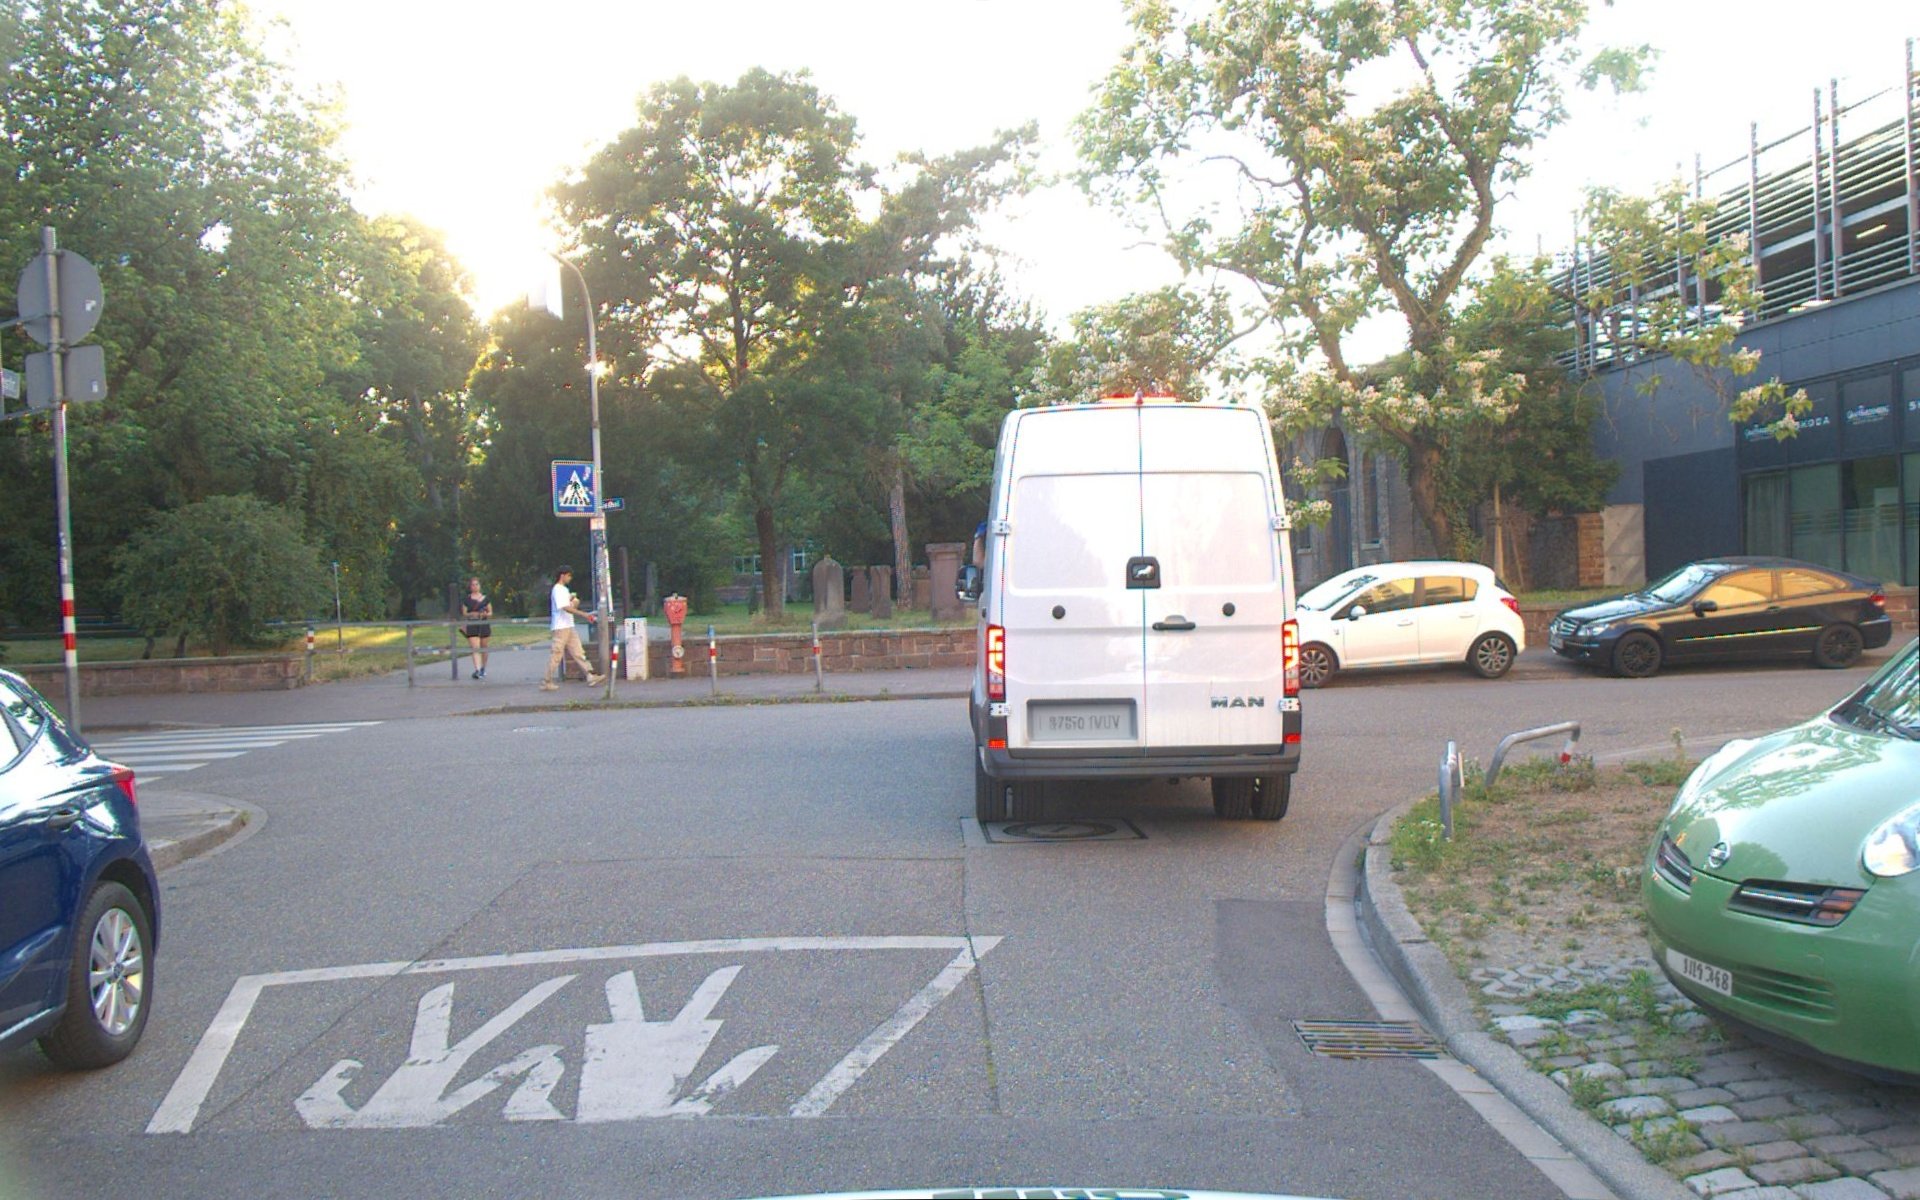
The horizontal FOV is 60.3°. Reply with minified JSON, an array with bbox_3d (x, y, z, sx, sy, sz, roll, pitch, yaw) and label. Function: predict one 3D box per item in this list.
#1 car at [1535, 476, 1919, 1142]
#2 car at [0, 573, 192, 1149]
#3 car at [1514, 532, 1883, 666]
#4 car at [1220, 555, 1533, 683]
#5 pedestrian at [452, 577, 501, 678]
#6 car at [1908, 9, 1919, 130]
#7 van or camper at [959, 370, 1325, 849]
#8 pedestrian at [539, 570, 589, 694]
[{"bbox_3d":[4.351,0.425,5.258,4.318,1.660,1.844,-3,-1,-5],"label":"car"},{"bbox_3d":[-3.492,0.775,4.013,1.700,1.594,3.786,-3,1,-6],"label":"car"},{"bbox_3d":[10.036,-0.022,22.726,4.204,1.529,1.824,-3,0,2],"label":"car"},{"bbox_3d":[5.702,0.234,22.954,3.779,1.601,1.956,-1,1,-4],"label":"car"},{"bbox_3d":[-8.129,0.451,27.834,0.633,1.677,0.673,0,0,-2],"label":"pedestrian"},{"bbox_3d":[17.993,-9.511,27.793,1.952,2.049,4.002,-1,0,3],"label":"car"},{"bbox_3d":[1.032,0.054,12.594,1.953,2.664,6.402,-2,0,-1],"label":"van or camper"},{"bbox_3d":[-5.969,0.468,24.930,0.581,1.840,0.620,-1,0,-1],"label":"pedestrian"}]
